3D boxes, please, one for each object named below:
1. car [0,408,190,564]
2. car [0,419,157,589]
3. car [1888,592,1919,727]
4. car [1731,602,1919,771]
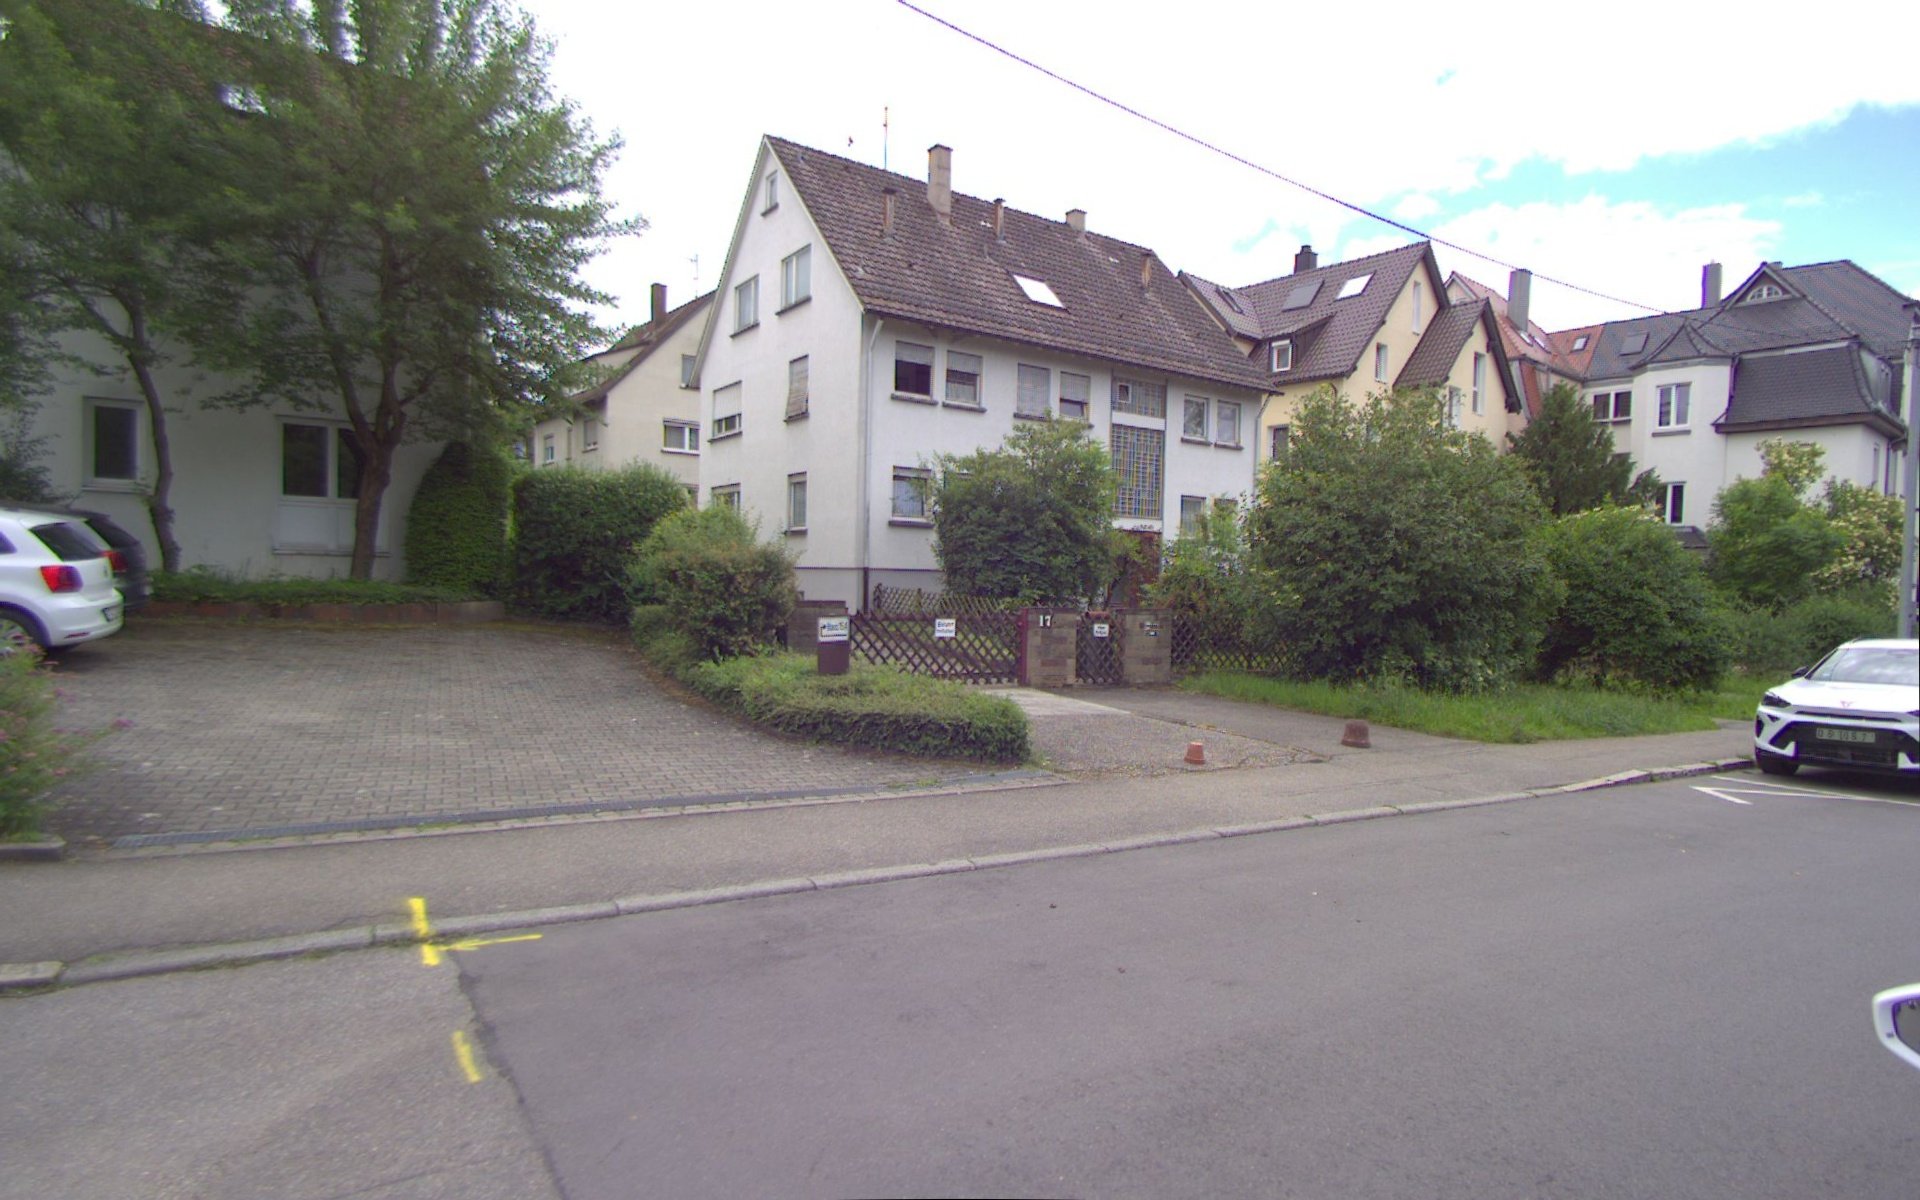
[{"bbox_3d":[-11.348,-1.420,11.339,3.955,1.595,1.812,3,6,-31],"label":"car"},{"bbox_3d":[-9.997,-1.010,9.181,3.886,1.477,1.695,2,7,-29],"label":"car"},{"bbox_3d":[14.842,0.925,14.134,4.371,1.787,1.732,4,-1,-36],"label":"car"},{"bbox_3d":[10.373,0.930,11.007,4.368,1.512,1.714,4,-1,-34],"label":"car"}]
